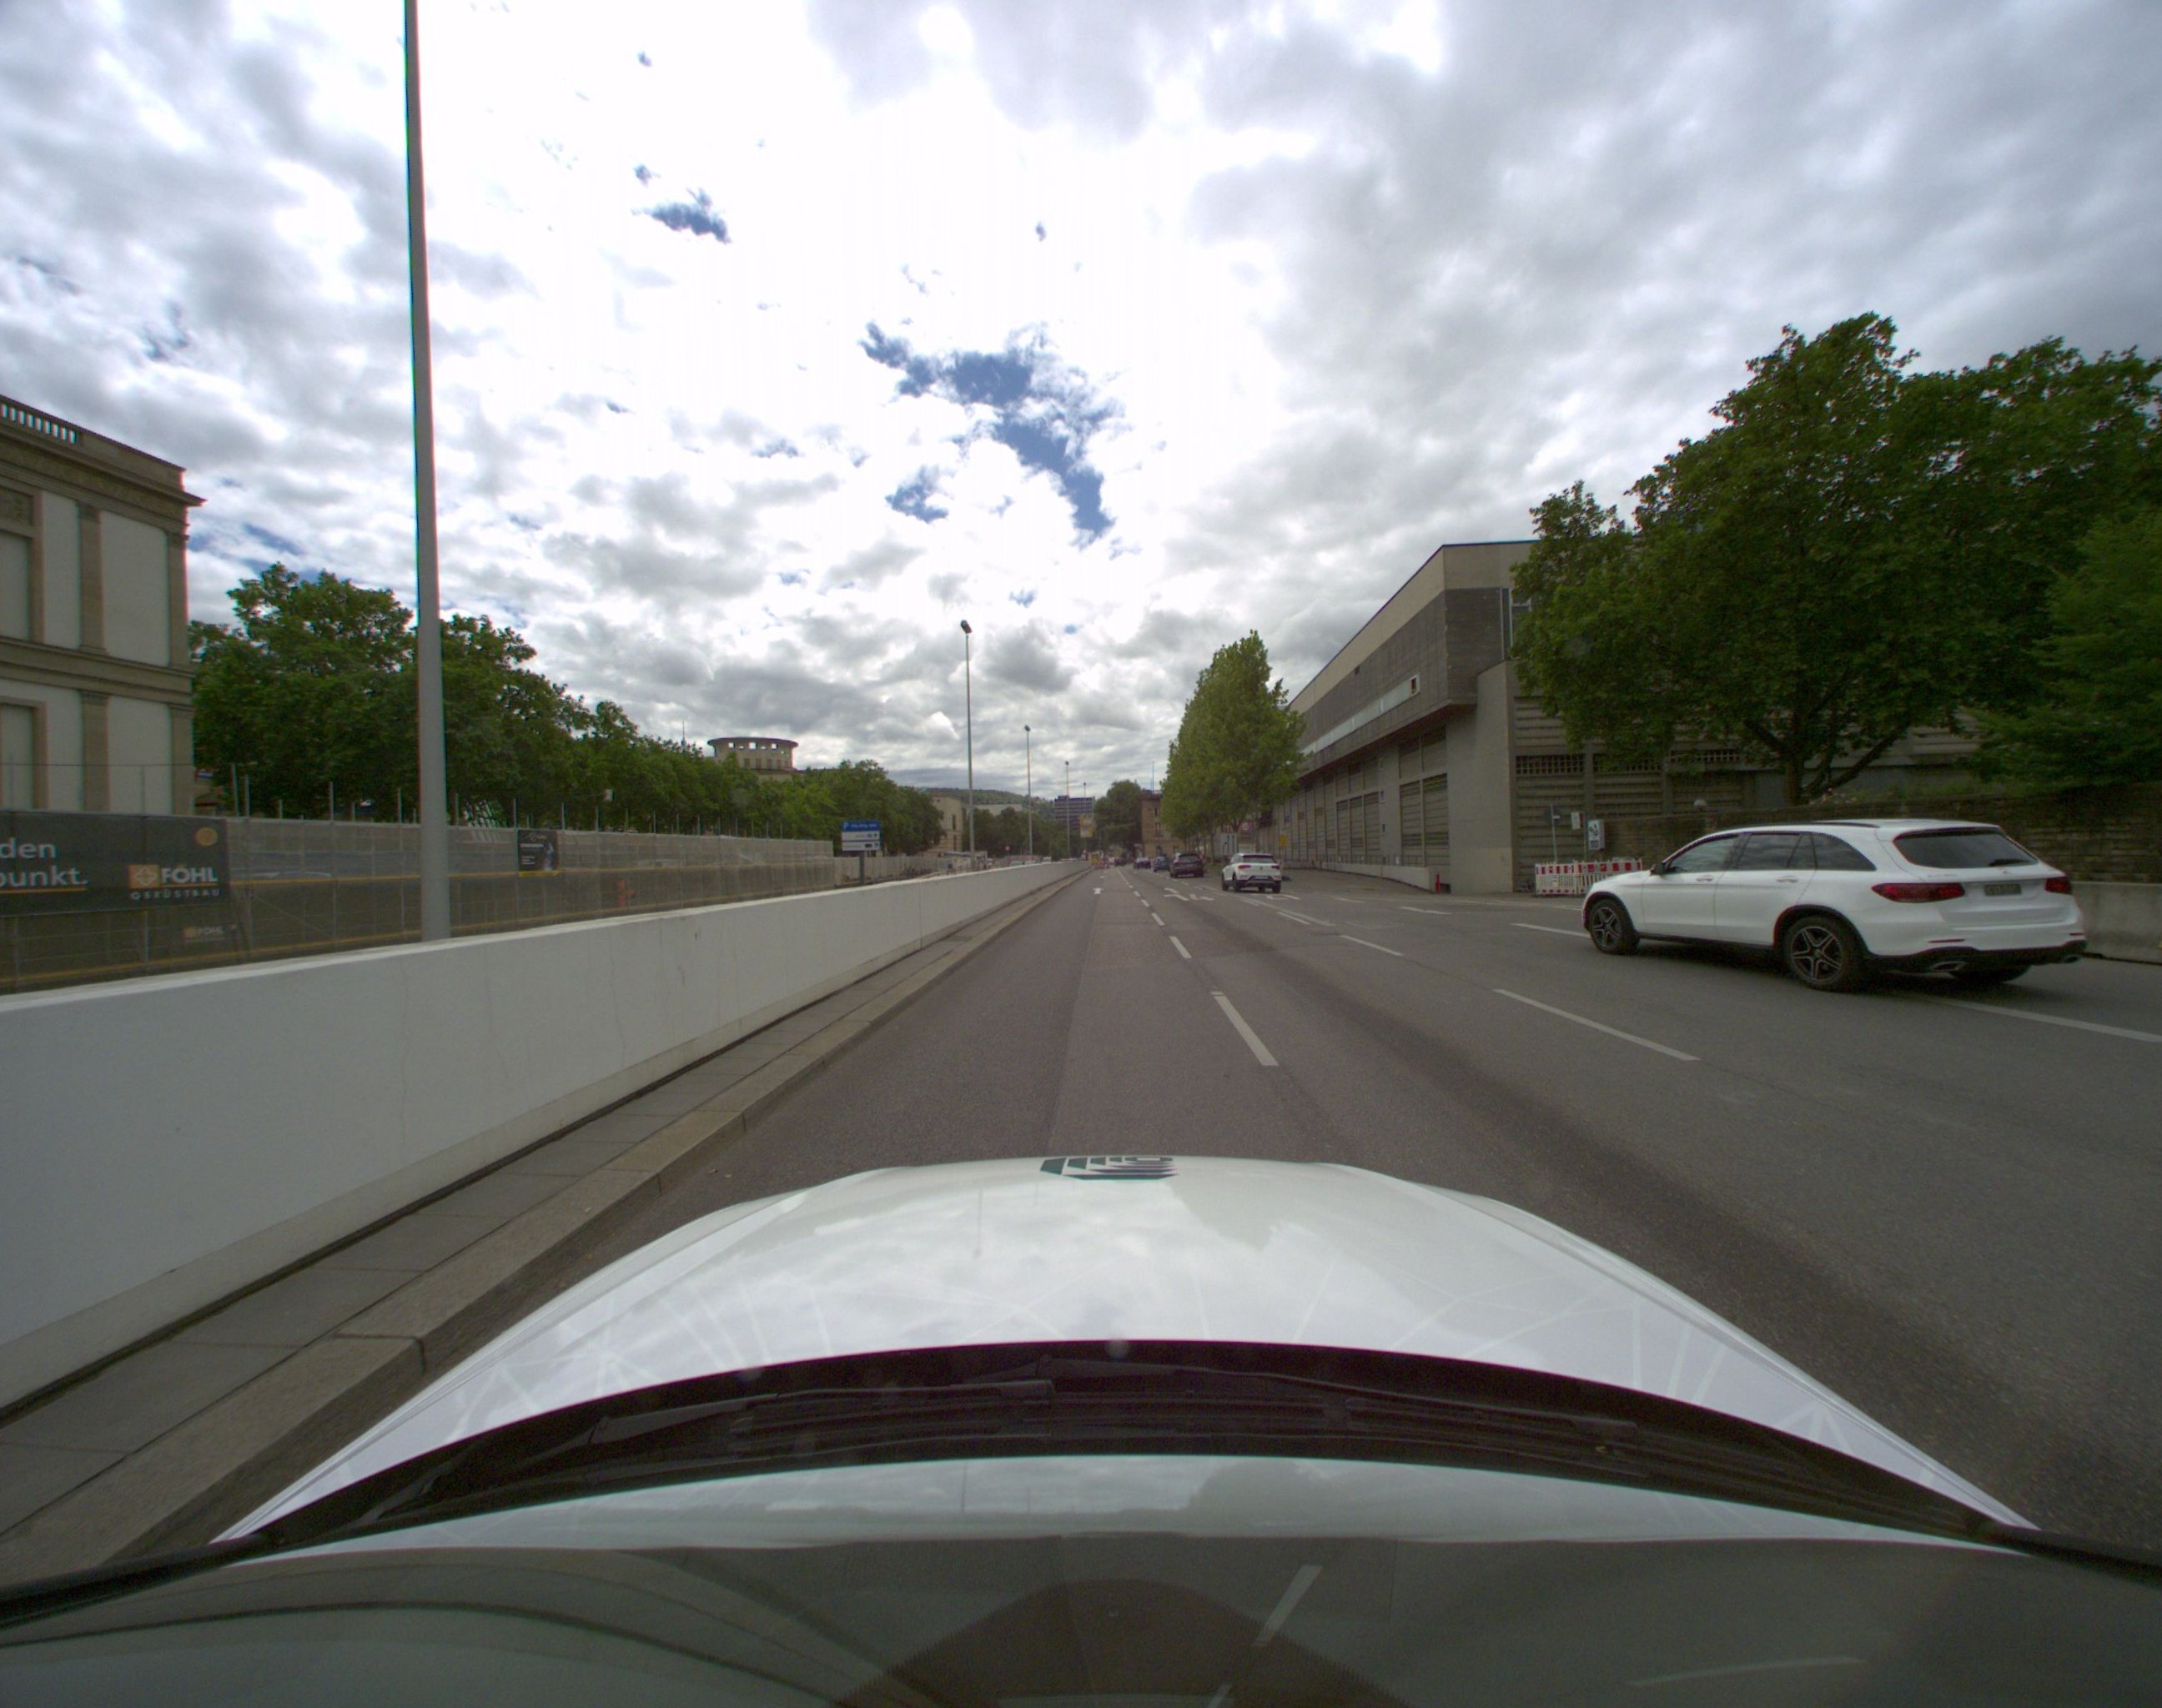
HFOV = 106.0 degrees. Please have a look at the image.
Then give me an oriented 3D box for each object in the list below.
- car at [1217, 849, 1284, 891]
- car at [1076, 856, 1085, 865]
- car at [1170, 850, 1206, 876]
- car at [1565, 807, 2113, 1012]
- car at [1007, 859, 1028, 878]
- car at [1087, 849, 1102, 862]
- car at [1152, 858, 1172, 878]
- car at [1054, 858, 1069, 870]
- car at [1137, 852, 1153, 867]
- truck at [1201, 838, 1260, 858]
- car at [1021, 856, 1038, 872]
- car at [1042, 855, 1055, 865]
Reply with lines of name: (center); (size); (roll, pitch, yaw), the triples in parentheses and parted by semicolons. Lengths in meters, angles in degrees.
car: (6.748, 0.624, 32.841); (1.745, 1.568, 4.330); (0, 0, 0)
car: (-0.176, 1.308, 158.532); (1.745, 1.568, 4.330); (-1, -1, 0)
car: (7.060, 0.577, 54.355); (1.817, 1.567, 4.480); (-1, 1, 0)
car: (7.850, 0.428, 9.228); (1.807, 1.642, 4.547); (-3, 1, -3)
car: (-7.680, 1.714, 98.236); (1.986, 2.013, 4.002); (-2, 1, 2)
car: (2.747, 0.258, 164.200); (2.569, 2.374, 5.537); (-2, 0, 7)
car: (8.018, 1.363, 80.529); (1.813, 1.740, 4.489); (-2, 0, 7)
car: (-2.751, 1.421, 115.942); (1.743, 1.568, 3.380); (-4, -1, 3)
car: (8.352, 0.691, 105.830); (1.813, 1.740, 4.489); (-2, 0, 7)
truck: (26.336, -1.077, 143.646); (9.988, 3.051, 2.570); (-2, -1, 2)
car: (-7.125, 1.320, 112.862); (1.986, 2.013, 4.002); (-2, 1, 2)
car: (-5.579, 1.087, 139.733); (1.743, 1.568, 3.380); (-4, -1, 3)
